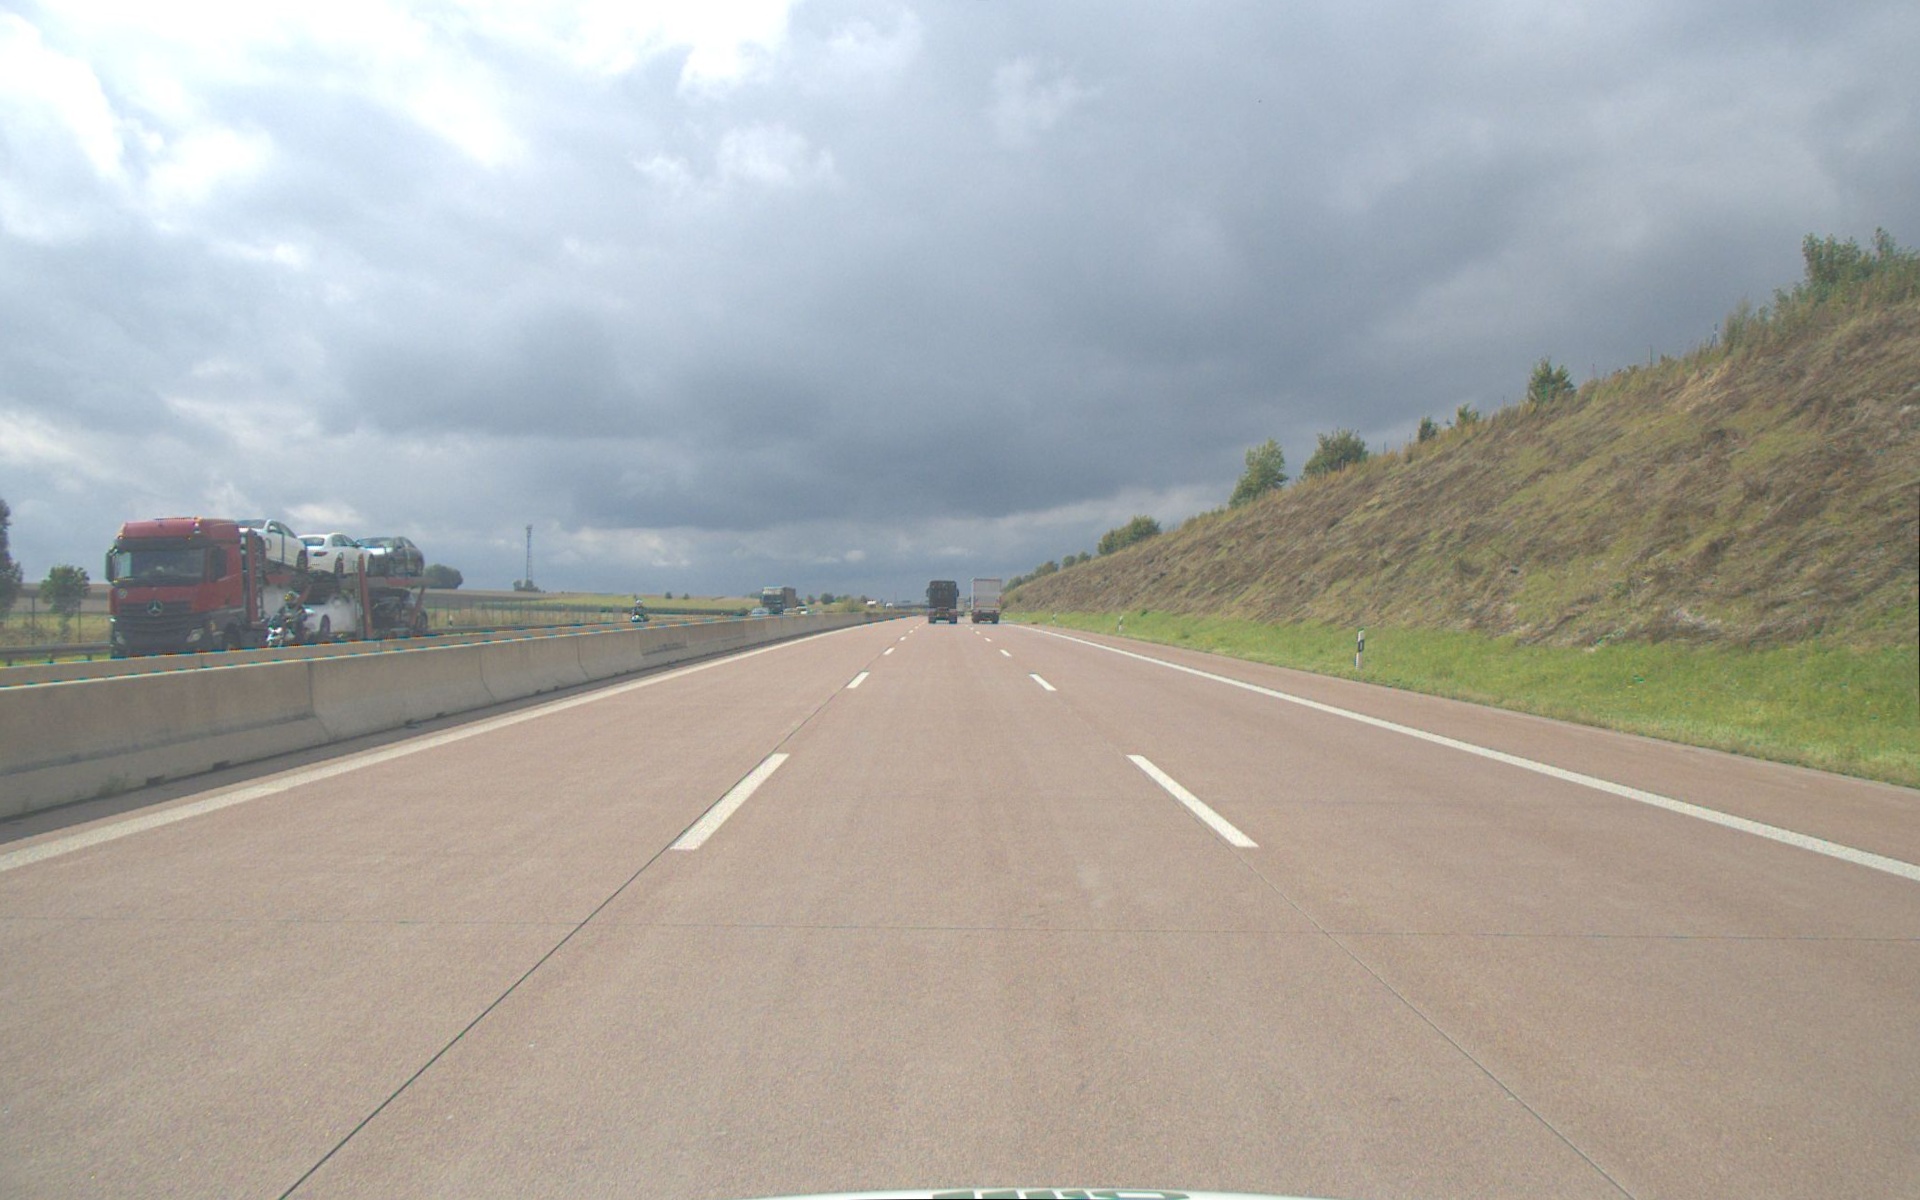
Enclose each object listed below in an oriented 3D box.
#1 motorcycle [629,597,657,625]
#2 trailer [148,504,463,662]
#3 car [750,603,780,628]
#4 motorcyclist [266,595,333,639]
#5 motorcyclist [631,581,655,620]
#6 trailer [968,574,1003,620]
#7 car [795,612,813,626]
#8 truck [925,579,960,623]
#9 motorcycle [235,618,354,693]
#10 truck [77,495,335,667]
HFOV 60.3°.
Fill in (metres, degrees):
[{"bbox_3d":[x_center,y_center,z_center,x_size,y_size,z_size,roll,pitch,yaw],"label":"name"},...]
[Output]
[{"bbox_3d":[-15.681,0.538,81.834,0.907,1.326,2.342,1,0,0],"label":"motorcycle"},{"bbox_3d":[-19.482,-0.443,51.185,3.129,4.048,16.324,1,0,0],"label":"trailer"},{"bbox_3d":[-16.383,1.315,139.095,1.945,2.049,5.050,1,-1,-1],"label":"car"},{"bbox_3d":[-15.091,0.384,37.816,1.161,0.965,0.839,1,0,-1],"label":"motorcyclist"},{"bbox_3d":[-15.661,0.027,81.796,0.988,1.894,0.744,1,0,1],"label":"motorcyclist"},{"bbox_3d":[2.302,-0.225,151.888,2.692,4.082,8.665,1,-1,-2],"label":"trailer"},{"bbox_3d":[-21.409,2.559,226.788,2.016,1.878,5.727,-1,0,-1],"label":"car"},{"bbox_3d":[-1.568,0.130,142.666,2.790,3.612,8.315,1,-1,-2],"label":"truck"},{"bbox_3d":[-15.106,1.235,37.686,1.522,1.569,2.841,1,0,0],"label":"motorcycle"},{"bbox_3d":[-19.493,-0.453,43.411,3.129,4.048,7.729,1,0,0],"label":"truck"}]
